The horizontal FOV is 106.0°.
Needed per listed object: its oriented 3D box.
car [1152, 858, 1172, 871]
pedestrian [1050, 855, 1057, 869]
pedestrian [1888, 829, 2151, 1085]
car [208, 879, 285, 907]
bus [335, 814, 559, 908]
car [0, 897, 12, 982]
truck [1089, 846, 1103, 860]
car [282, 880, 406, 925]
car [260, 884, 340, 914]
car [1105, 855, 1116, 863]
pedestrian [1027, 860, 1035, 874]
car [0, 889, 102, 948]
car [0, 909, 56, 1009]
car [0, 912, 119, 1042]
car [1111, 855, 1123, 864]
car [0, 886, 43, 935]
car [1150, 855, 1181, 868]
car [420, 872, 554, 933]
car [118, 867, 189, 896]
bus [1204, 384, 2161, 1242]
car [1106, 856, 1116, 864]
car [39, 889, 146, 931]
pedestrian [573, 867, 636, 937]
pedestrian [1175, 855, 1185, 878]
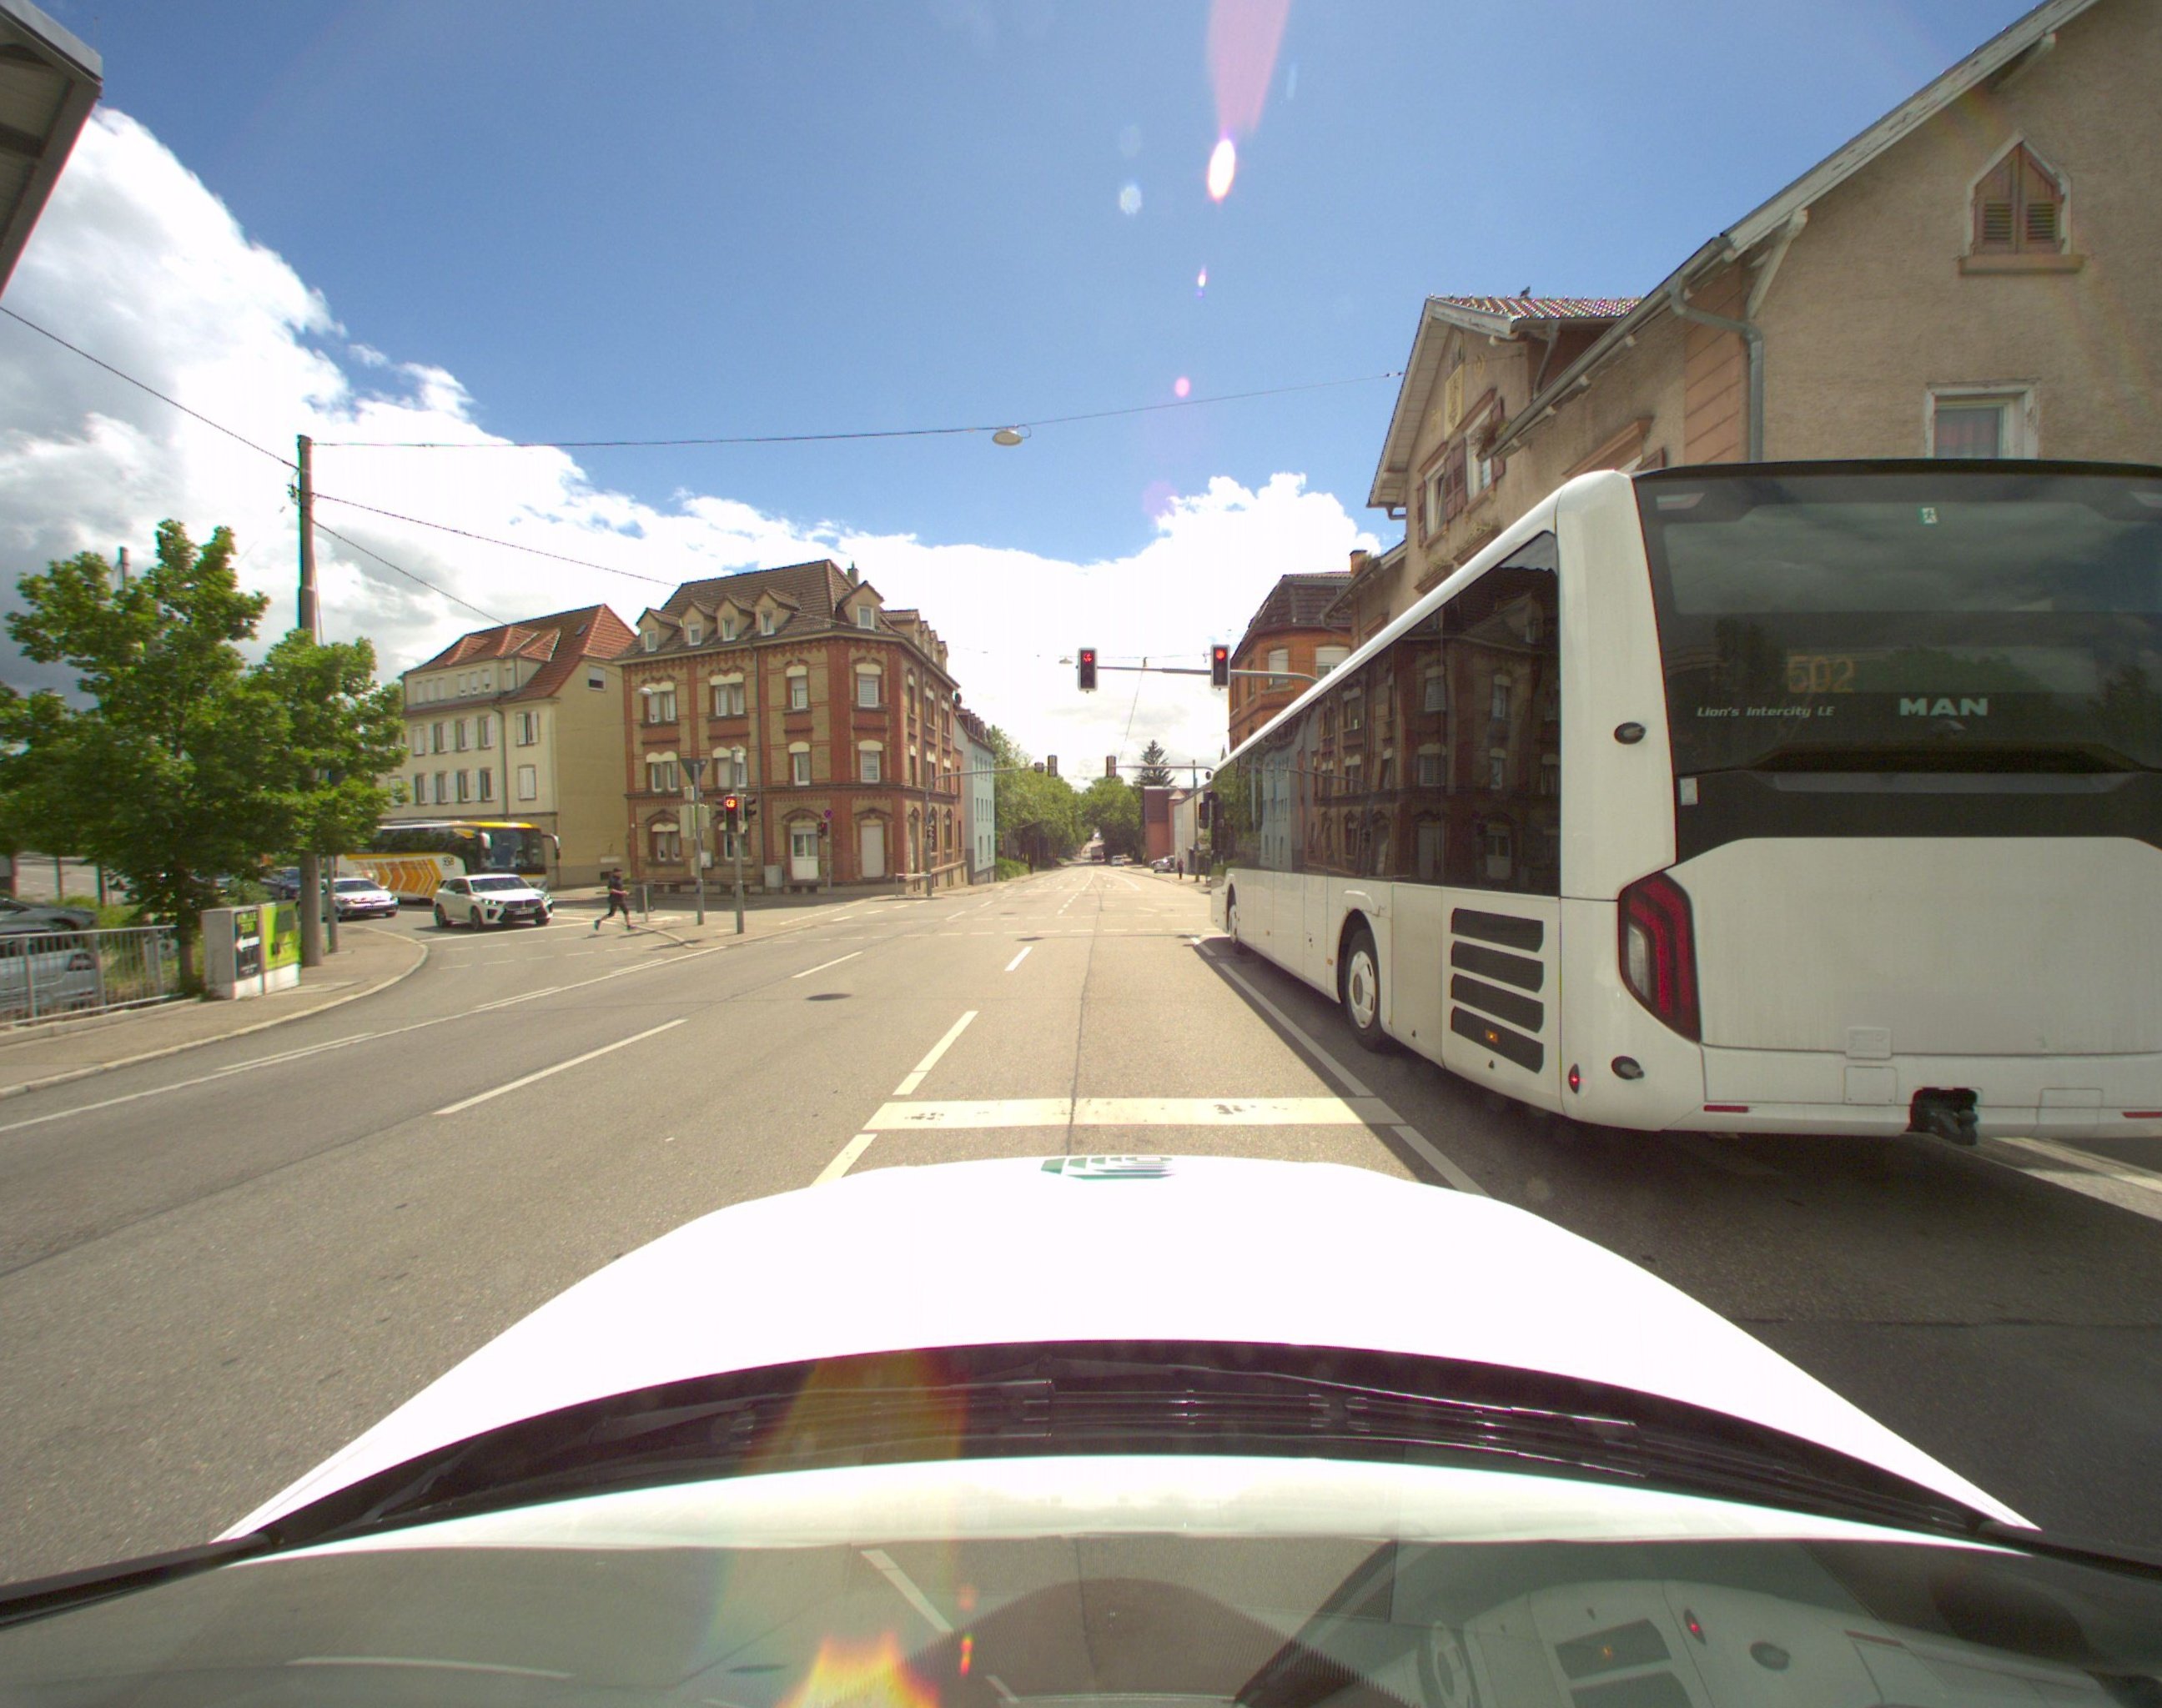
[{"bbox_3d":[9.226,1.165,93.021,1.788,1.409,4.000,-2,0,1],"label":"car"},{"bbox_3d":[-4.074,1.188,121.079,0.991,2.013,1.189,-2,0,1],"label":"pedestrian"},{"bbox_3d":[6.187,0.641,5.420,0.856,1.562,0.712,-2,-1,1],"label":"pedestrian"},{"bbox_3d":[-45.723,2.143,44.616,3.949,1.409,1.923,-2,0,29],"label":"car"},{"bbox_3d":[-27.755,0.385,35.375,12.109,3.622,2.788,-1,0,27],"label":"bus"},{"bbox_3d":[-23.417,1.755,16.476,3.455,1.680,1.663,-1,2,30],"label":"car"},{"bbox_3d":[3.621,-0.251,197.341,2.917,3.081,7.883,-2,0,0],"label":"truck"},{"bbox_3d":[-25.991,1.693,28.736,3.576,1.418,1.895,-2,0,24],"label":"car"},{"bbox_3d":[-39.274,2.239,40.925,3.949,1.409,1.762,-2,0,28],"label":"car"},{"bbox_3d":[5.287,0.972,145.918,1.787,1.409,4.421,-1,0,3],"label":"car"},{"bbox_3d":[-5.580,1.480,90.843,0.727,1.565,0.561,-1,-1,0],"label":"pedestrian"},{"bbox_3d":[-29.475,1.778,22.091,1.777,1.477,3.522,-2,0,32],"label":"car"},{"bbox_3d":[-19.611,1.839,14.162,3.455,1.526,1.626,-1,2,29],"label":"car"},{"bbox_3d":[-16.010,1.783,12.113,3.321,1.560,1.692,0,2,32],"label":"car"},{"bbox_3d":[5.743,0.936,129.528,1.787,1.409,4.001,-1,0,2],"label":"car"},{"bbox_3d":[-36.391,1.897,25.781,1.785,1.553,4.023,-2,0,25],"label":"car"},{"bbox_3d":[11.773,1.032,113.076,3.978,1.757,1.998,-2,0,-3],"label":"car"},{"bbox_3d":[-17.877,1.461,24.450,4.250,1.552,1.845,-5,-3,33],"label":"car"},{"bbox_3d":[-53.580,1.597,47.053,3.949,1.554,1.923,-2,0,29],"label":"car"},{"bbox_3d":[3.490,-0.147,9.270,2.662,3.155,12.467,-1,0,2],"label":"bus"},{"bbox_3d":[5.744,1.107,154.017,1.787,1.409,4.421,-1,0,3],"label":"car"},{"bbox_3d":[-37.415,2.089,30.837,3.456,1.448,1.811,-2,0,26],"label":"car"},{"bbox_3d":[-12.365,1.234,21.166,1.138,1.734,0.758,-2,0,-3],"label":"pedestrian"},{"bbox_3d":[8.022,1.008,65.944,0.736,1.750,0.619,-2,0,1],"label":"pedestrian"}]
